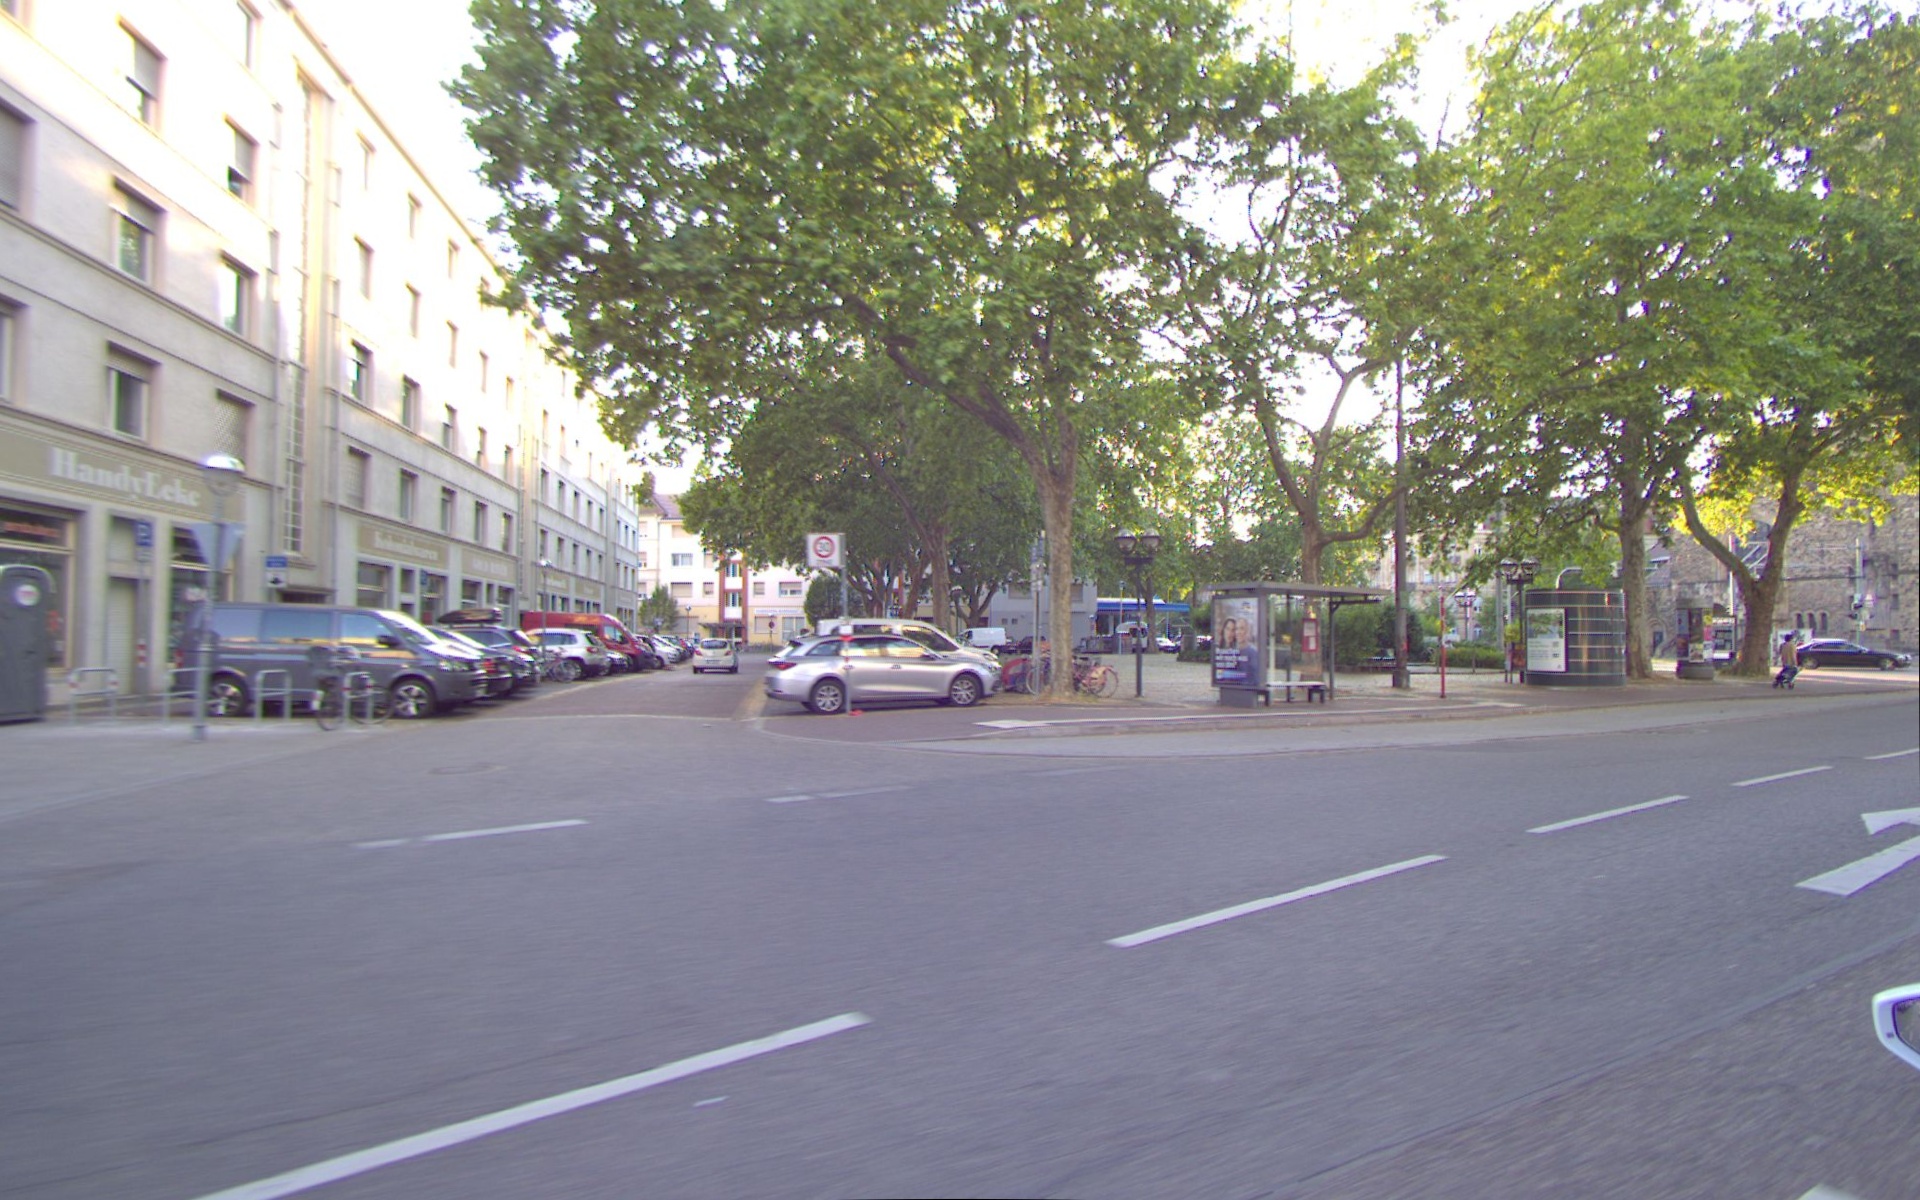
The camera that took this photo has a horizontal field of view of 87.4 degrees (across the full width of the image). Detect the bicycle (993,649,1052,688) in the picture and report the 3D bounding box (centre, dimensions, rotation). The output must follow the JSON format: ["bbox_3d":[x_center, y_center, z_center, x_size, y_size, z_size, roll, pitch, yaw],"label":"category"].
[{"bbox_3d":[1.588,1.741,25.592,1.475,0.981,0.395,0,-1,-5],"label":"bicycle"}]

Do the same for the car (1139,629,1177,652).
[{"bbox_3d":[17.095,3.501,86.781,1.895,1.866,4.334,1,-2,-8],"label":"car"}]

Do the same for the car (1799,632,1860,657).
[{"bbox_3d":[67.980,3.484,78.546,3.429,1.935,1.711,0,-2,-7],"label":"car"}]

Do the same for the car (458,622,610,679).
[{"bbox_3d":[-13.947,1.651,33.123,4.262,1.773,1.927,1,-2,-11],"label":"car"}]

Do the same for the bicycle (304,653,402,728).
[{"bbox_3d":[-9.390,1.367,15.606,0.470,1.056,1.824,0,-2,-2],"label":"bicycle"}]

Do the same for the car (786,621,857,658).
[{"bbox_3d":[-9.567,2.718,69.262,4.759,2.370,1.997,1,-2,-10],"label":"car"}]

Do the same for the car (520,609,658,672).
[{"bbox_3d":[-15.819,1.731,43.118,5.190,2.536,1.997,1,-2,-10],"label":"car"}]

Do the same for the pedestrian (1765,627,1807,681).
[{"bbox_3d":[25.413,1.644,30.923,0.675,1.650,0.738,1,-1,-18],"label":"pedestrian"}]

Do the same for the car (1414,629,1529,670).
[{"bbox_3d":[24.450,2.341,48.090,4.546,1.865,2.082,0,-1,-9],"label":"car"}]

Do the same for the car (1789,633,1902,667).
[{"bbox_3d":[44.903,2.500,50.989,1.987,1.672,4.209,2,-2,-45],"label":"car"}]

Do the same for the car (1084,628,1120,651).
[{"bbox_3d":[12.085,3.374,85.838,1.895,1.866,4.334,1,-2,-8],"label":"car"}]

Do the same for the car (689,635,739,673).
[{"bbox_3d":[-10.514,2.286,43.159,1.965,1.539,3.991,1,-2,-12],"label":"car"}]

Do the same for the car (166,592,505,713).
[{"bbox_3d":[-11.114,0.960,18.274,4.759,1.999,1.997,1,-2,-10],"label":"car"}]

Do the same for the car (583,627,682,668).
[{"bbox_3d":[-15.736,2.288,48.454,4.262,1.866,1.927,1,-2,-11],"label":"car"}]

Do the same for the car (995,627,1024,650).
[{"bbox_3d":[4.135,3.228,84.261,1.894,1.866,4.337,1,-2,-4],"label":"car"}]

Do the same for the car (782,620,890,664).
[{"bbox_3d":[-5.579,1.841,45.043,4.553,1.865,2.079,0,-1,-15],"label":"car"}]

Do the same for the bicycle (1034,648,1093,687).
[{"bbox_3d":[2.679,1.750,26.038,1.475,0.981,0.395,0,-1,-5],"label":"bicycle"}]

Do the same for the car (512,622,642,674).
[{"bbox_3d":[-14.461,1.803,38.167,4.262,1.866,1.927,1,-2,-11],"label":"car"}]

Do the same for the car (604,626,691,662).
[{"bbox_3d":[-16.918,2.381,54.510,4.262,1.866,1.927,1,-2,-11],"label":"car"}]

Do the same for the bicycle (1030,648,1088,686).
[{"bbox_3d":[2.616,1.772,26.530,1.475,0.981,0.395,0,-1,-5],"label":"bicycle"}]

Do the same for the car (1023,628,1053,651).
[{"bbox_3d":[6.580,3.326,84.929,1.894,1.866,4.337,1,-2,-4],"label":"car"}]

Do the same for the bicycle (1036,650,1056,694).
[{"bbox_3d":[2.040,1.677,23.782,0.387,0.981,1.505,0,-2,8],"label":"bicycle"}]

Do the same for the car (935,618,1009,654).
[{"bbox_3d":[0.808,2.468,68.790,4.760,2.322,1.996,1,-2,-11],"label":"car"}]

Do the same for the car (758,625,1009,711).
[{"bbox_3d":[-1.504,1.248,19.358,4.556,1.501,1.818,0,-2,-17],"label":"car"}]

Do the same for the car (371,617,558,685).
[{"bbox_3d":[-13.747,1.426,28.118,4.262,1.773,1.927,1,-2,-11],"label":"car"}]

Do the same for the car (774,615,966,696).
[{"bbox_3d":[-2.283,1.328,24.856,4.549,1.865,2.081,0,-1,-11],"label":"car"}]

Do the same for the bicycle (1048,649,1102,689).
[{"bbox_3d":[2.923,1.741,25.448,1.490,0.981,0.391,1,-2,-37],"label":"bicycle"}]

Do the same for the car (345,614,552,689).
[{"bbox_3d":[-12.907,1.307,25.624,4.262,1.773,1.927,1,-2,-11],"label":"car"}]

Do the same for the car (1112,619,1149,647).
[{"bbox_3d":[14.497,2.810,85.828,1.895,2.289,4.334,1,-2,-8],"label":"car"}]

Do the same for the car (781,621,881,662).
[{"bbox_3d":[-6.176,1.972,47.901,4.553,1.865,2.079,0,-1,-15],"label":"car"}]

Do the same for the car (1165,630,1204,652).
[{"bbox_3d":[19.487,3.561,87.329,1.895,1.866,4.334,1,-2,-8],"label":"car"}]

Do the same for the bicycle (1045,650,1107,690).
[{"bbox_3d":[2.887,1.742,24.999,1.475,0.981,0.395,0,-1,-5],"label":"bicycle"}]

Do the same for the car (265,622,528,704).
[{"bbox_3d":[-11.414,1.288,20.663,4.262,1.558,1.927,1,-2,-11],"label":"car"}]

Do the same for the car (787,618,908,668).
[{"bbox_3d":[-4.495,1.697,40.013,4.553,1.865,2.079,0,-1,-15],"label":"car"}]

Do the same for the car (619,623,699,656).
[{"bbox_3d":[-17.699,2.317,59.288,4.262,1.866,1.927,1,-2,-11],"label":"car"}]

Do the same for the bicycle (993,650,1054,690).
[{"bbox_3d":[1.577,1.727,24.968,1.475,0.981,0.395,0,-1,-5],"label":"bicycle"}]

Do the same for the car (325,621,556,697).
[{"bbox_3d":[-11.799,1.345,23.151,4.262,1.616,2.046,1,-2,-11],"label":"car"}]

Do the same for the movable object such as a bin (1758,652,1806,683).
[{"bbox_3d":[24.869,2.047,30.393,0.967,0.902,0.738,1,-2,-18],"label":"movable object such as a bin"}]

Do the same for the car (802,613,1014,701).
[{"bbox_3d":[-1.222,1.231,22.589,4.549,1.824,1.821,0,-1,-11],"label":"car"}]

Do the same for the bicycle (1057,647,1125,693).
[{"bbox_3d":[3.108,1.665,23.932,1.563,1.088,0.402,0,-1,-5],"label":"bicycle"}]

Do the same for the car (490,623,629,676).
[{"bbox_3d":[-14.248,1.774,35.963,4.262,1.773,1.927,1,-2,-11],"label":"car"}]

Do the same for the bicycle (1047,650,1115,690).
[{"bbox_3d":[2.966,1.709,24.607,1.612,0.981,0.408,0,-1,-5],"label":"bicycle"}]
